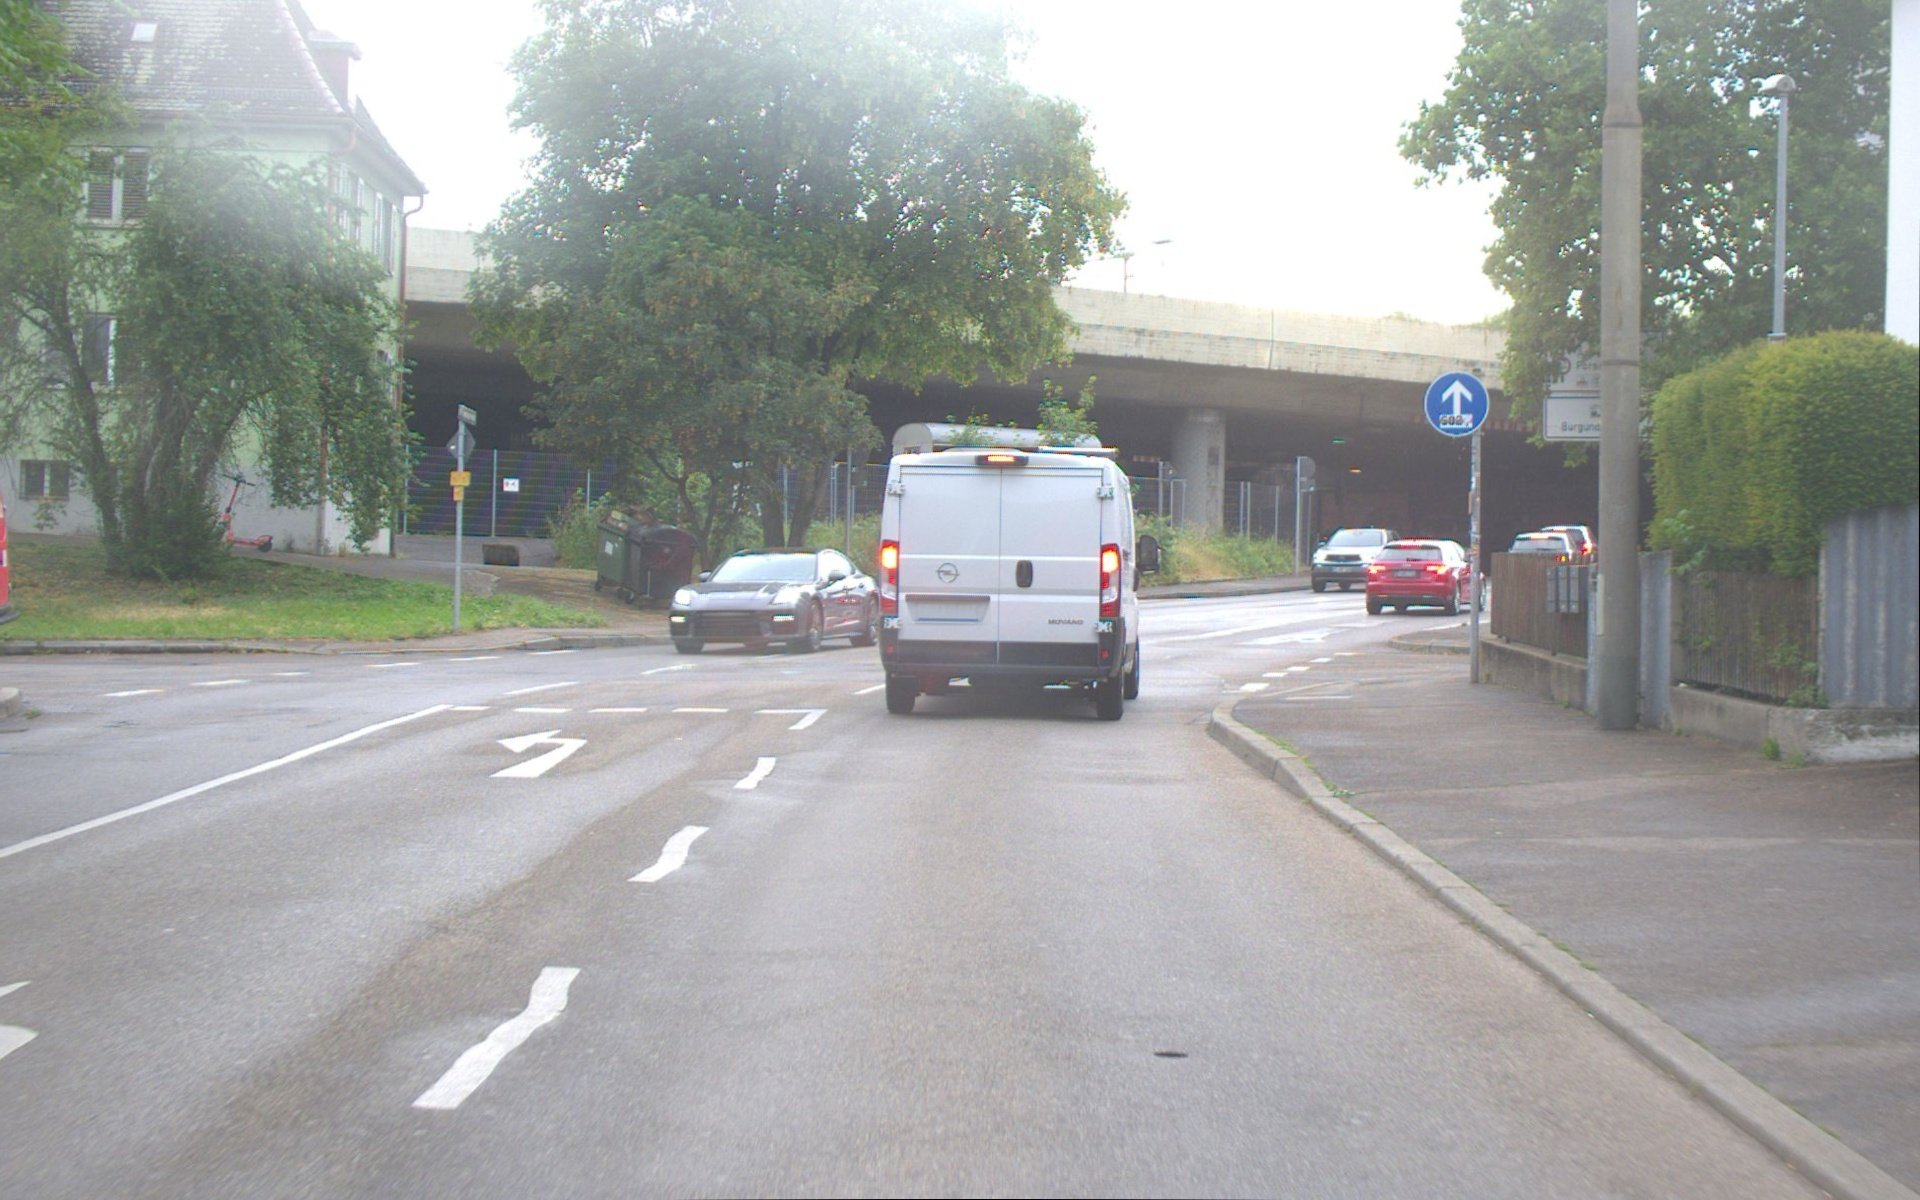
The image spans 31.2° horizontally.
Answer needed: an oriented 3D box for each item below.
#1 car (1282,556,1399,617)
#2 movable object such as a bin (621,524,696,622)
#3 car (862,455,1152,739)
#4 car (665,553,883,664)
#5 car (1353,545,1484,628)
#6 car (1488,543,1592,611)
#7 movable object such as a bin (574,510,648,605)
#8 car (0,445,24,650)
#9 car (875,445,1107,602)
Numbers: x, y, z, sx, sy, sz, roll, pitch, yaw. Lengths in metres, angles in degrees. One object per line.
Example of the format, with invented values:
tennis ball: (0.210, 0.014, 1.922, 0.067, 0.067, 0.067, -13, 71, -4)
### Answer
car: (9.371, -0.318, 84.366, 1.995, 1.451, 4.825, 1, 0, 17)
movable object such as a bin: (-5.164, -0.470, 58.887, 0.940, 1.558, 1.130, 7, 2, 4)
car: (0.521, -0.072, 30.721, 2.147, 2.275, 5.062, 2, 1, 5)
car: (-2.514, 0.118, 47.771, 1.994, 1.451, 4.827, 1, 0, 10)
car: (8.896, -0.275, 66.436, 1.767, 1.505, 3.751, 2, 1, 19)
car: (13.587, -0.545, 80.410, 1.767, 1.505, 3.751, 2, 1, 19)
movable object such as a bin: (-6.130, -0.750, 60.428, 0.940, 1.558, 1.130, 7, 2, 4)
car: (-14.751, -0.688, 43.839, 5.046, 2.619, 2.153, 0, 1, -1)
car: (0.737, -1.546, 70.696, 2.536, 3.008, 7.204, 2, 1, 19)
